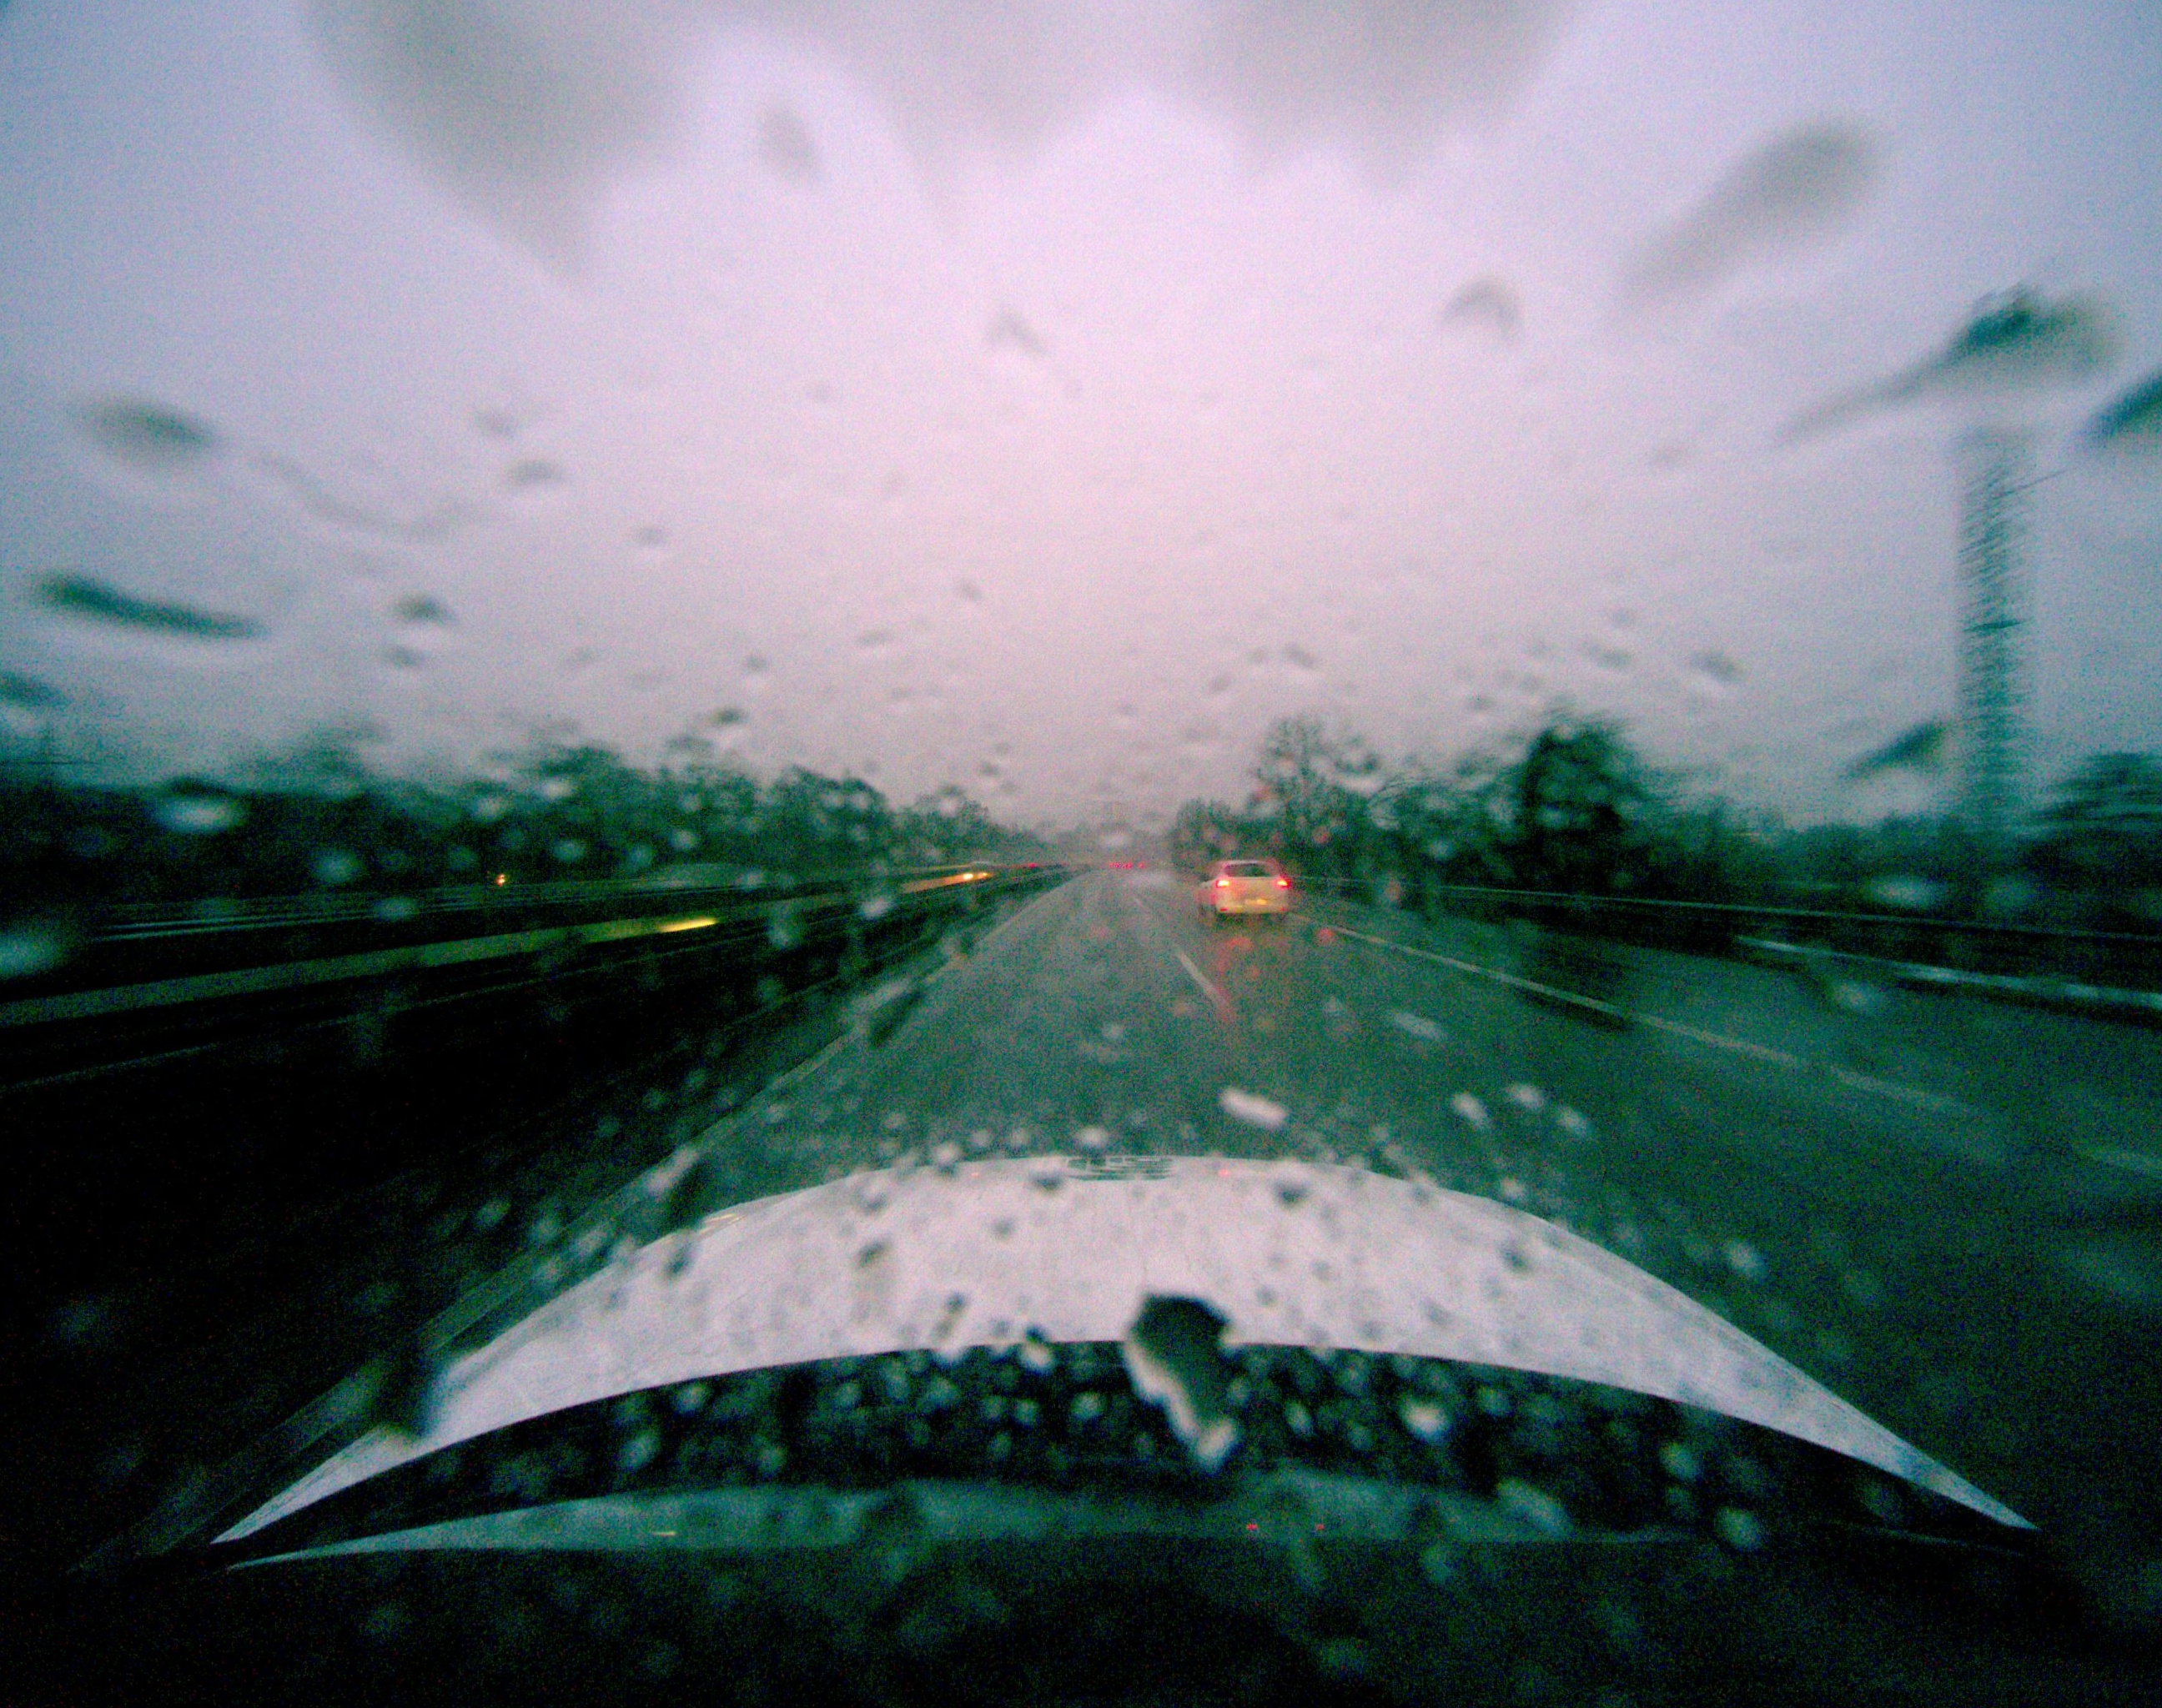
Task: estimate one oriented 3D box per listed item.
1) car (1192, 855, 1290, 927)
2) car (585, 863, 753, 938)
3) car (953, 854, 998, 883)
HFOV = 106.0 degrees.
[{"bbox_3d":[4.010,0.904,20.972,1.839,1.636,3.769,-2,-1,2],"label":"car"},{"bbox_3d":[-11.372,1.215,22.980,2.156,1.791,4.811,-1,0,2],"label":"car"},{"bbox_3d":[-6.822,0.908,53.160,2.156,1.791,4.811,-1,0,2],"label":"car"}]
